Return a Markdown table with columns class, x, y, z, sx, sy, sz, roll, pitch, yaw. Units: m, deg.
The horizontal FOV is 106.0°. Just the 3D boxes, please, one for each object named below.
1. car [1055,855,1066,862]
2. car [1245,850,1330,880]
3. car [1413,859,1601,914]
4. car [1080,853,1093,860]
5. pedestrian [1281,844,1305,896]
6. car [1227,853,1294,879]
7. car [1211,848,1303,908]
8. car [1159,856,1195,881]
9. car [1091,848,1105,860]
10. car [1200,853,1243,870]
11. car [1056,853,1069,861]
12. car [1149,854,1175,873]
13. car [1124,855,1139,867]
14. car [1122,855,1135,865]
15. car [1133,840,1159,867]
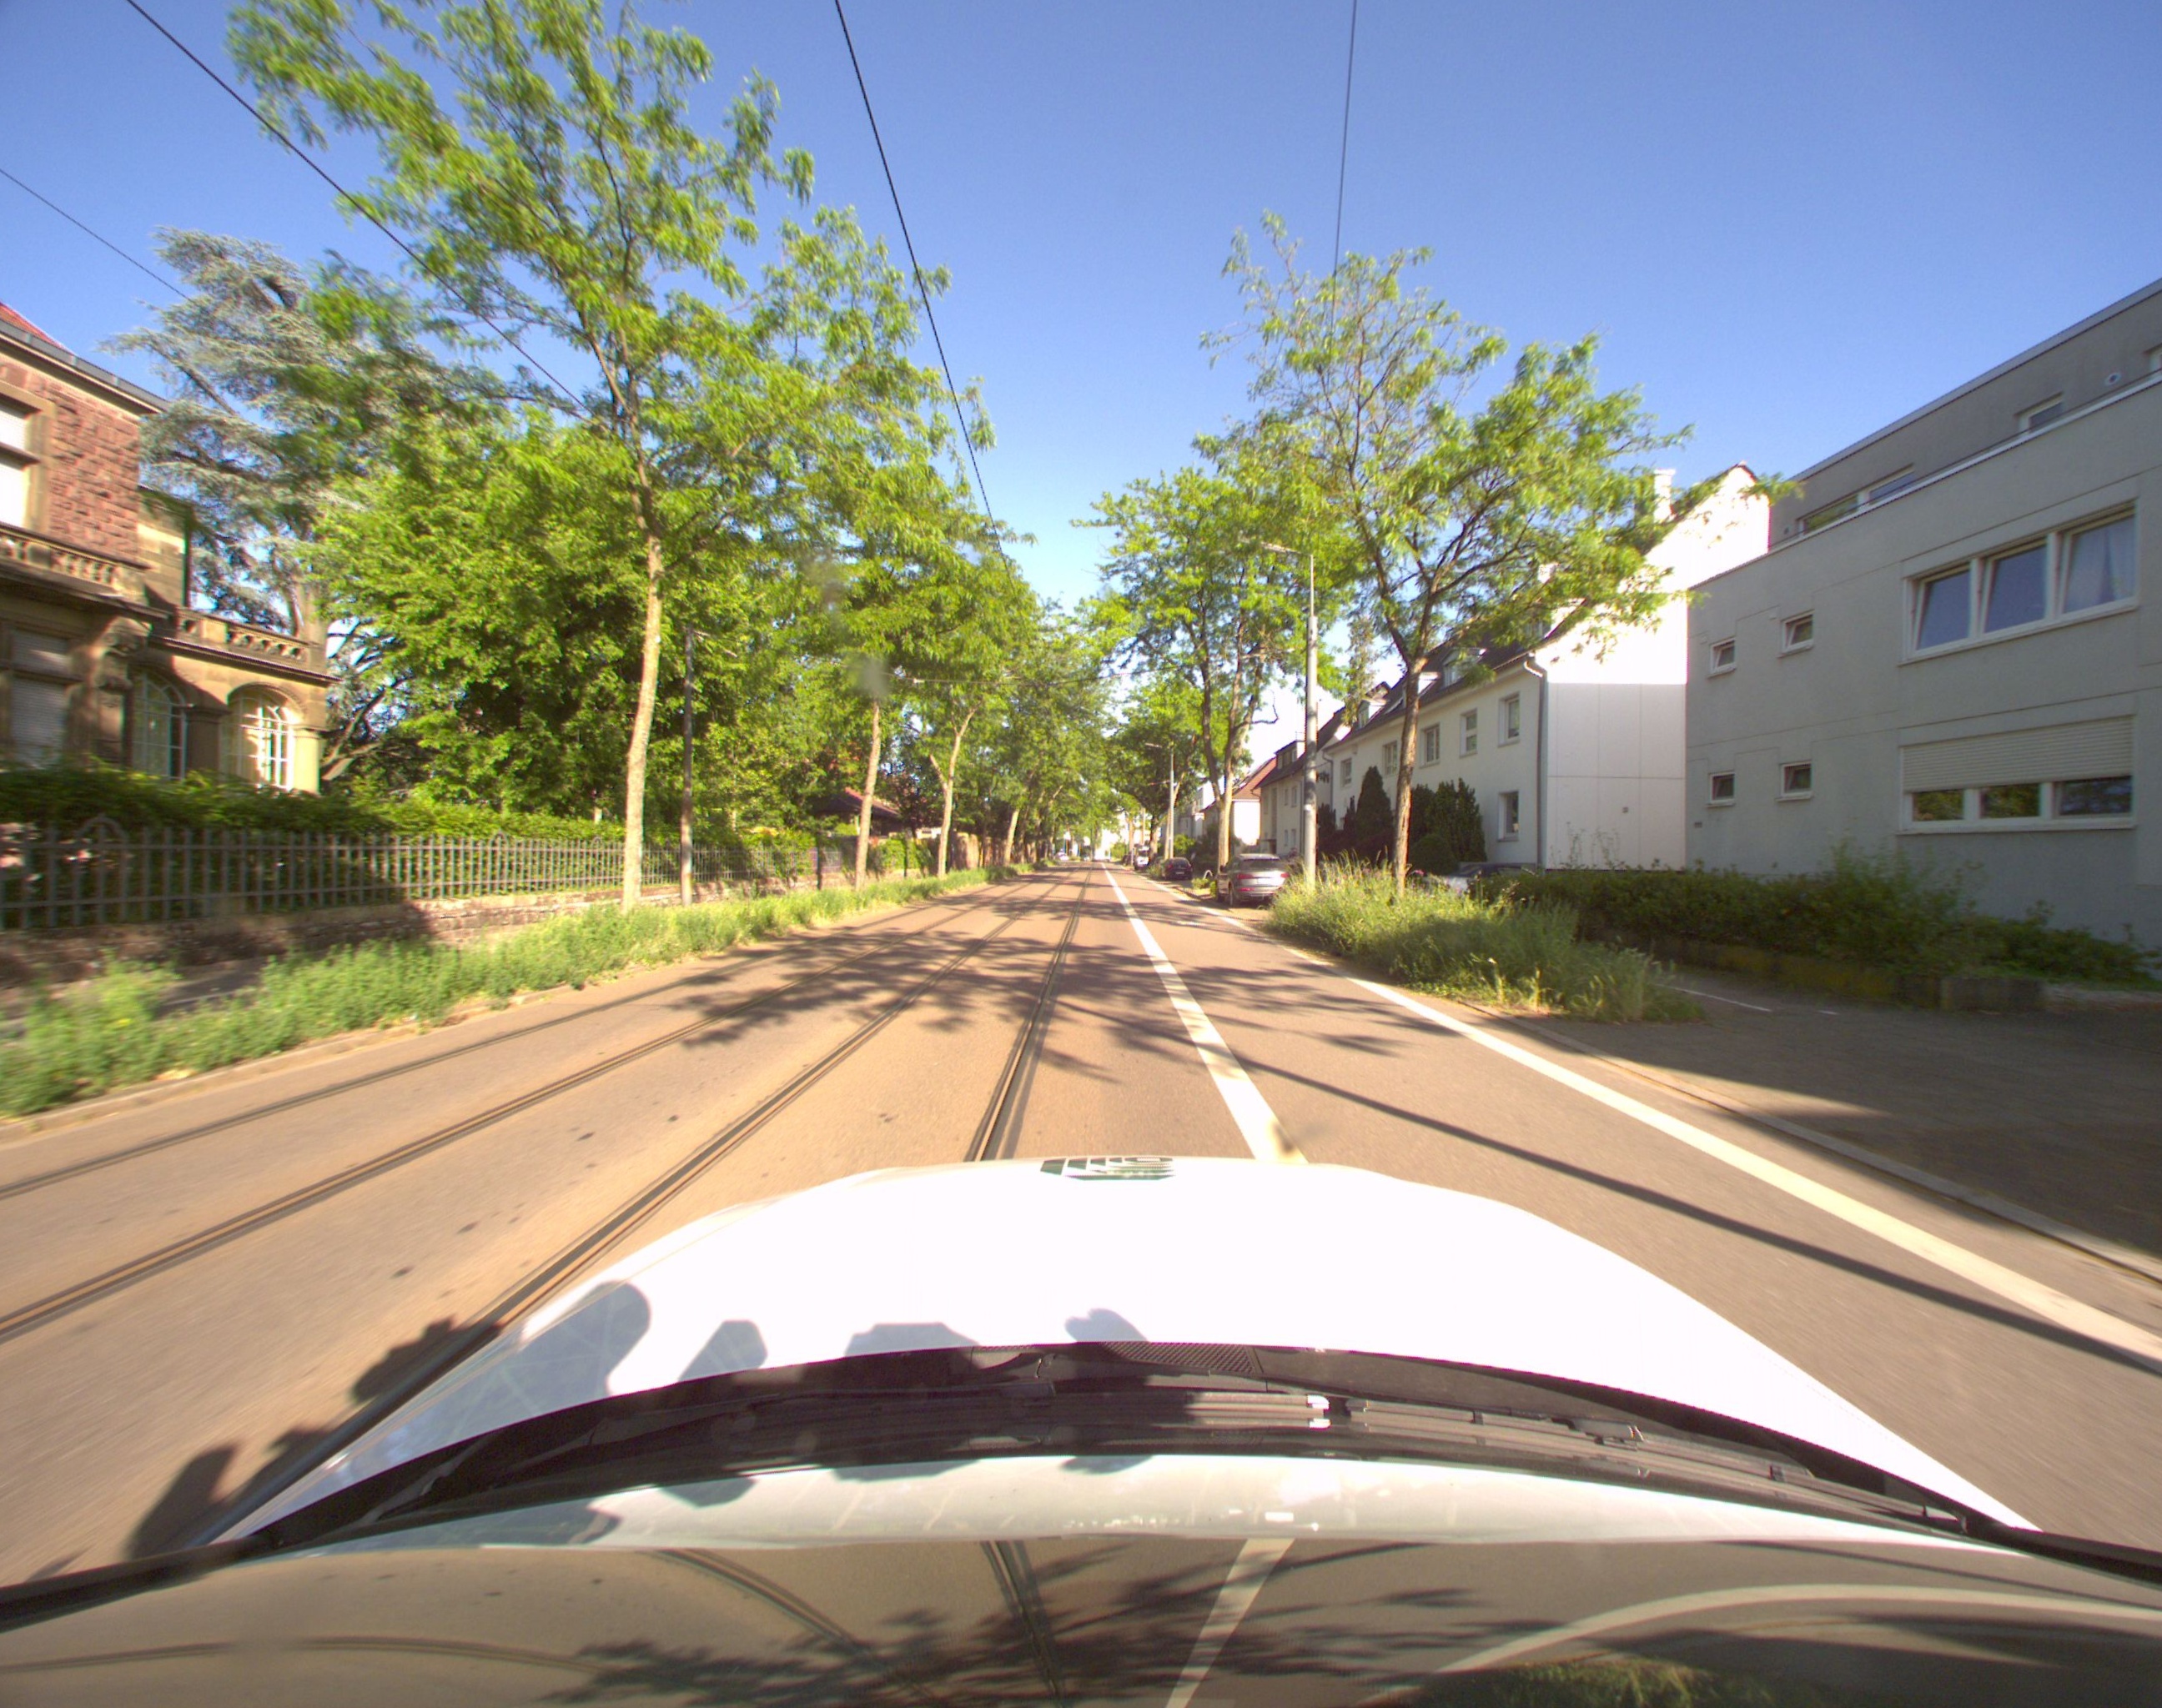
| class | x | y | z | sx | sy | sz | roll | pitch | yaw |
| --- | --- | --- | --- | --- | --- | --- | --- | --- | --- |
| car | -5.948 | 1.227 | 237.398 | 2.007 | 1.910 | 4.367 | -1 | 0 | -17 |
| car | 11.652 | 0.608 | 46.208 | 4.402 | 1.489 | 1.860 | -2 | 0 | 3 |
| car | 11.173 | 0.822 | 21.570 | 4.037 | 1.342 | 1.877 | 0 | 0 | 0 |
| car | 1.222 | 0.666 | 187.453 | 2.004 | 1.560 | 4.375 | 0 | 0 | -11 |
| pedestrian | 7.785 | 0.575 | 29.890 | 0.623 | 1.870 | 0.732 | -2 | 0 | 0 |
| car | 11.010 | 0.727 | 50.112 | 3.732 | 1.489 | 1.737 | -1 | 0 | -5 |
| car | 5.554 | 0.703 | 26.334 | 1.987 | 1.704 | 4.477 | -2 | 0 | 0 |
| car | 6.172 | 0.891 | 52.916 | 1.778 | 1.448 | 4.300 | -2 | 0 | -1 |
| car | 3.502 | -0.013 | 169.688 | 1.995 | 2.458 | 4.490 | 0 | 0 | -12 |
| car | 12.474 | 0.692 | 72.261 | 3.400 | 1.436 | 1.727 | -1 | 0 | -12 |
| car | -4.145 | 0.659 | 184.390 | 1.870 | 1.675 | 4.149 | 0 | 0 | -17 |
| car | 6.213 | 0.717 | 62.576 | 1.621 | 1.397 | 3.646 | -2 | 0 | 1 |
| car | 7.194 | 1.005 | 116.115 | 1.996 | 1.675 | 4.393 | -1 | 0 | 1 |
| car | 7.763 | 0.956 | 133.622 | 1.993 | 1.675 | 4.398 | -1 | 0 | 5 |
| car | 6.647 | -0.025 | 84.022 | 2.237 | 2.654 | 5.586 | -1 | 0 | 1 |
